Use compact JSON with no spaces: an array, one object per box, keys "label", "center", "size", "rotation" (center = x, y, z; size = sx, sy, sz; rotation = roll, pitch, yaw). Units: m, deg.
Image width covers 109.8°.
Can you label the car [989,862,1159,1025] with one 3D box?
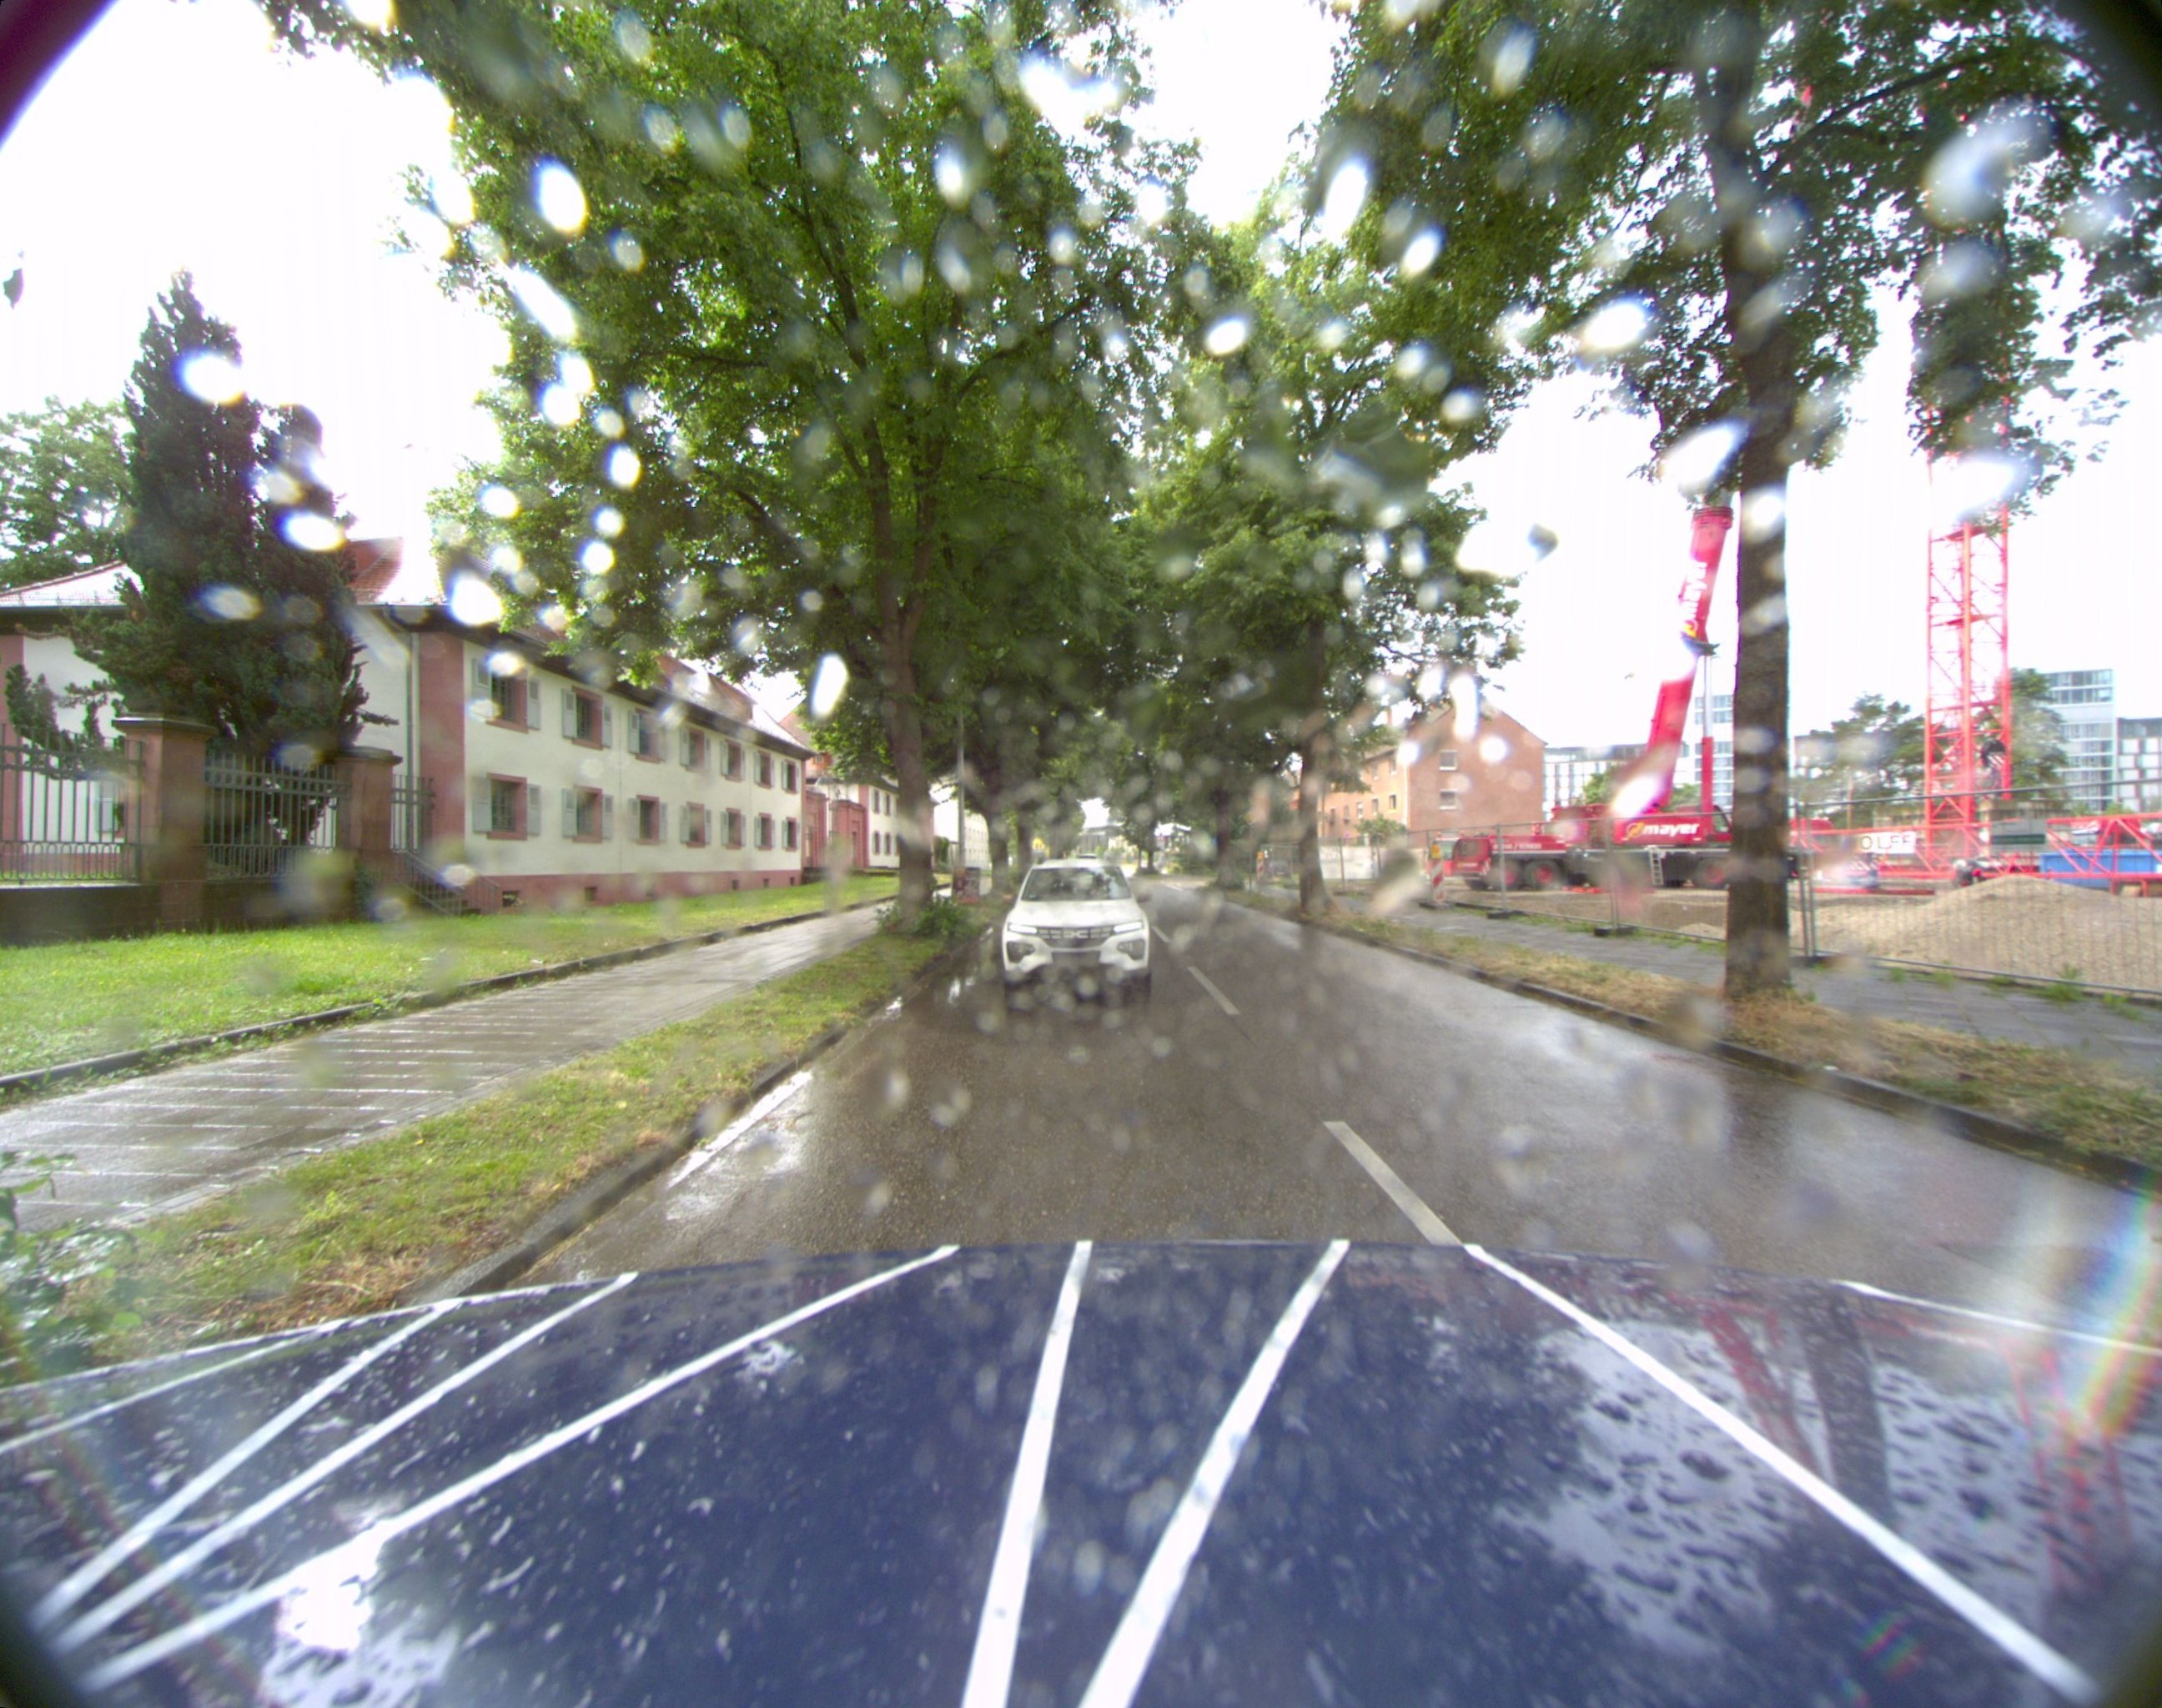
[{"label":"car","center":[-0.041,0.896,9.425],"size":[1.608,1.499,4.000],"rotation":[-2,0,1]}]

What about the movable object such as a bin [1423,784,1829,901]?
[{"label":"movable object such as a bin","center":[24.578,-0.481,35.028],"size":[15.941,4.532,3.102],"rotation":[-2,1,4]}]

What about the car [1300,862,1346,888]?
[{"label":"car","center":[16.480,1.390,51.881],"size":[1.693,1.521,3.999],"rotation":[-2,1,-2]}]

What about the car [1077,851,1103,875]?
[{"label":"car","center":[0.805,0.793,69.426],"size":[2.107,1.990,5.433],"rotation":[-2,1,-2]}]
